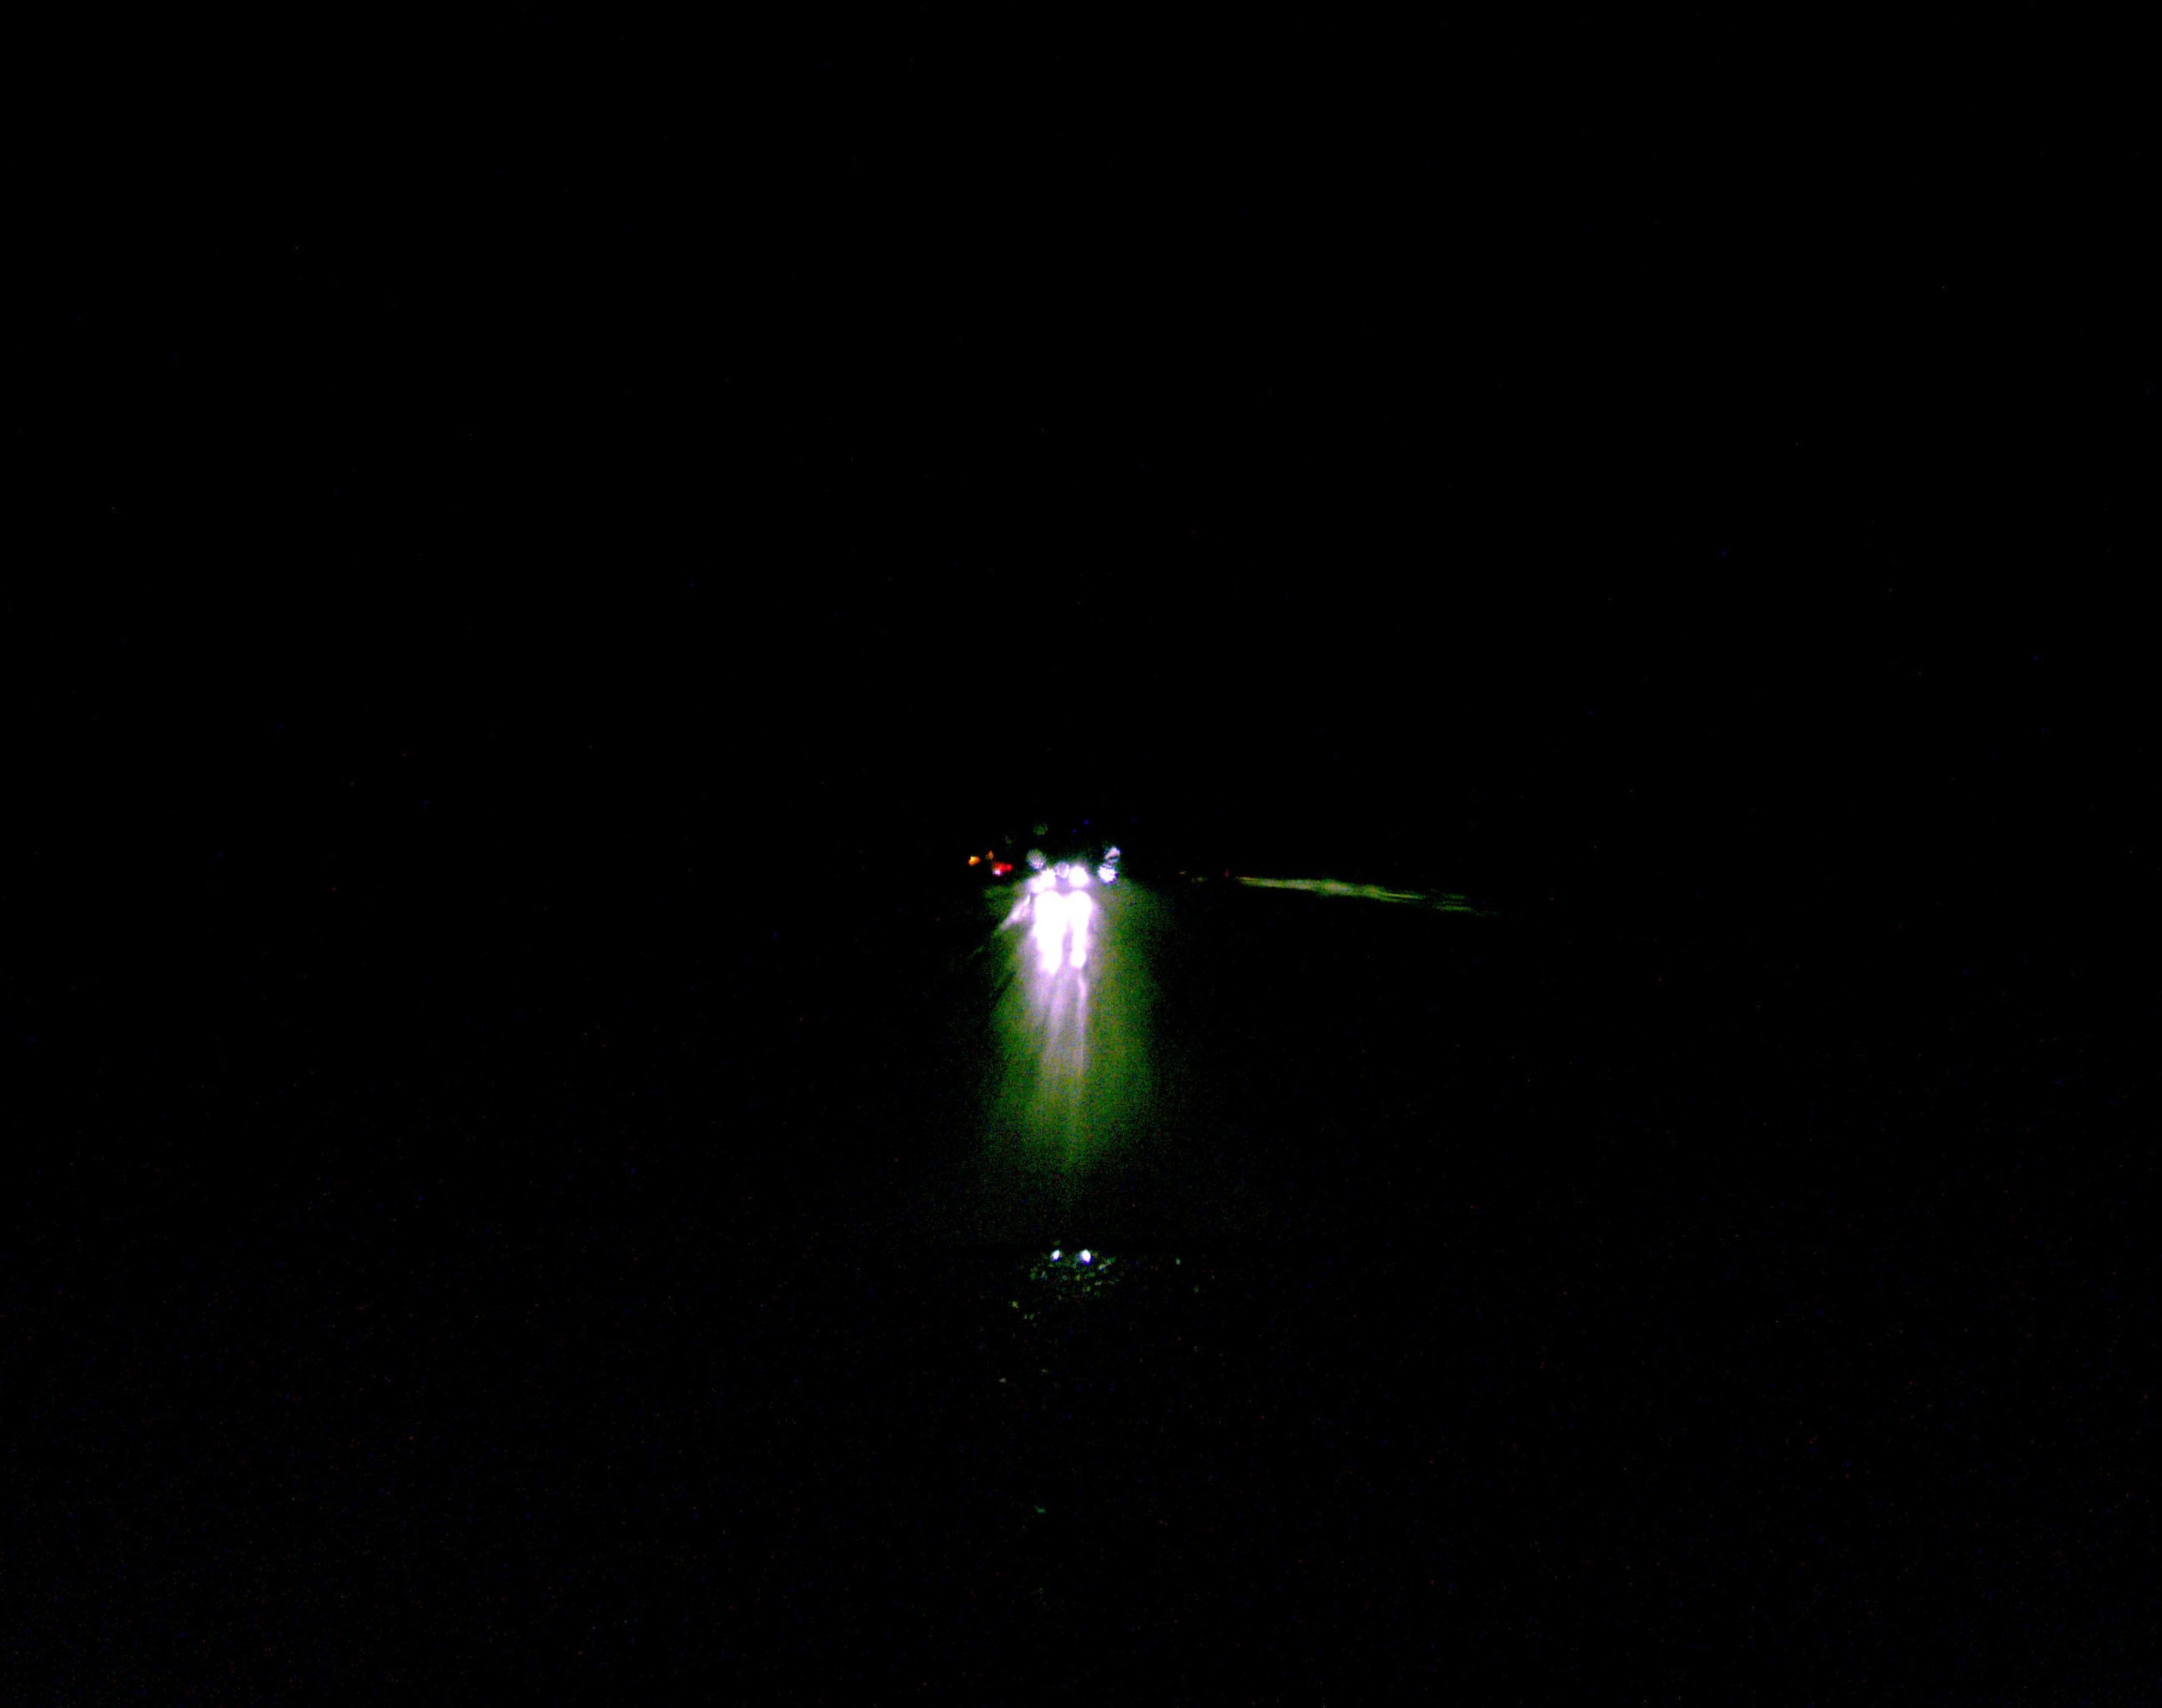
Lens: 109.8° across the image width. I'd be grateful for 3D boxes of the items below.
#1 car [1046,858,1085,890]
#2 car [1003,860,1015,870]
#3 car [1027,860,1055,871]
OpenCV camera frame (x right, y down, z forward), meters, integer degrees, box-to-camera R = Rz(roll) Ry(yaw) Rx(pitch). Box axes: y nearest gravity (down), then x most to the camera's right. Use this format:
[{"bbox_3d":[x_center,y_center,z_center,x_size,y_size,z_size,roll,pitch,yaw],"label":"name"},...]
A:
[{"bbox_3d":[-0.861,1.052,40.071,1.902,1.551,4.000,1,-1,-3],"label":"car"},{"bbox_3d":[-12.502,1.955,131.687,1.849,1.709,3.957,-1,-1,-10],"label":"car"},{"bbox_3d":[-7.433,2.123,141.945,4.952,1.827,1.932,3,-2,-12],"label":"car"}]
